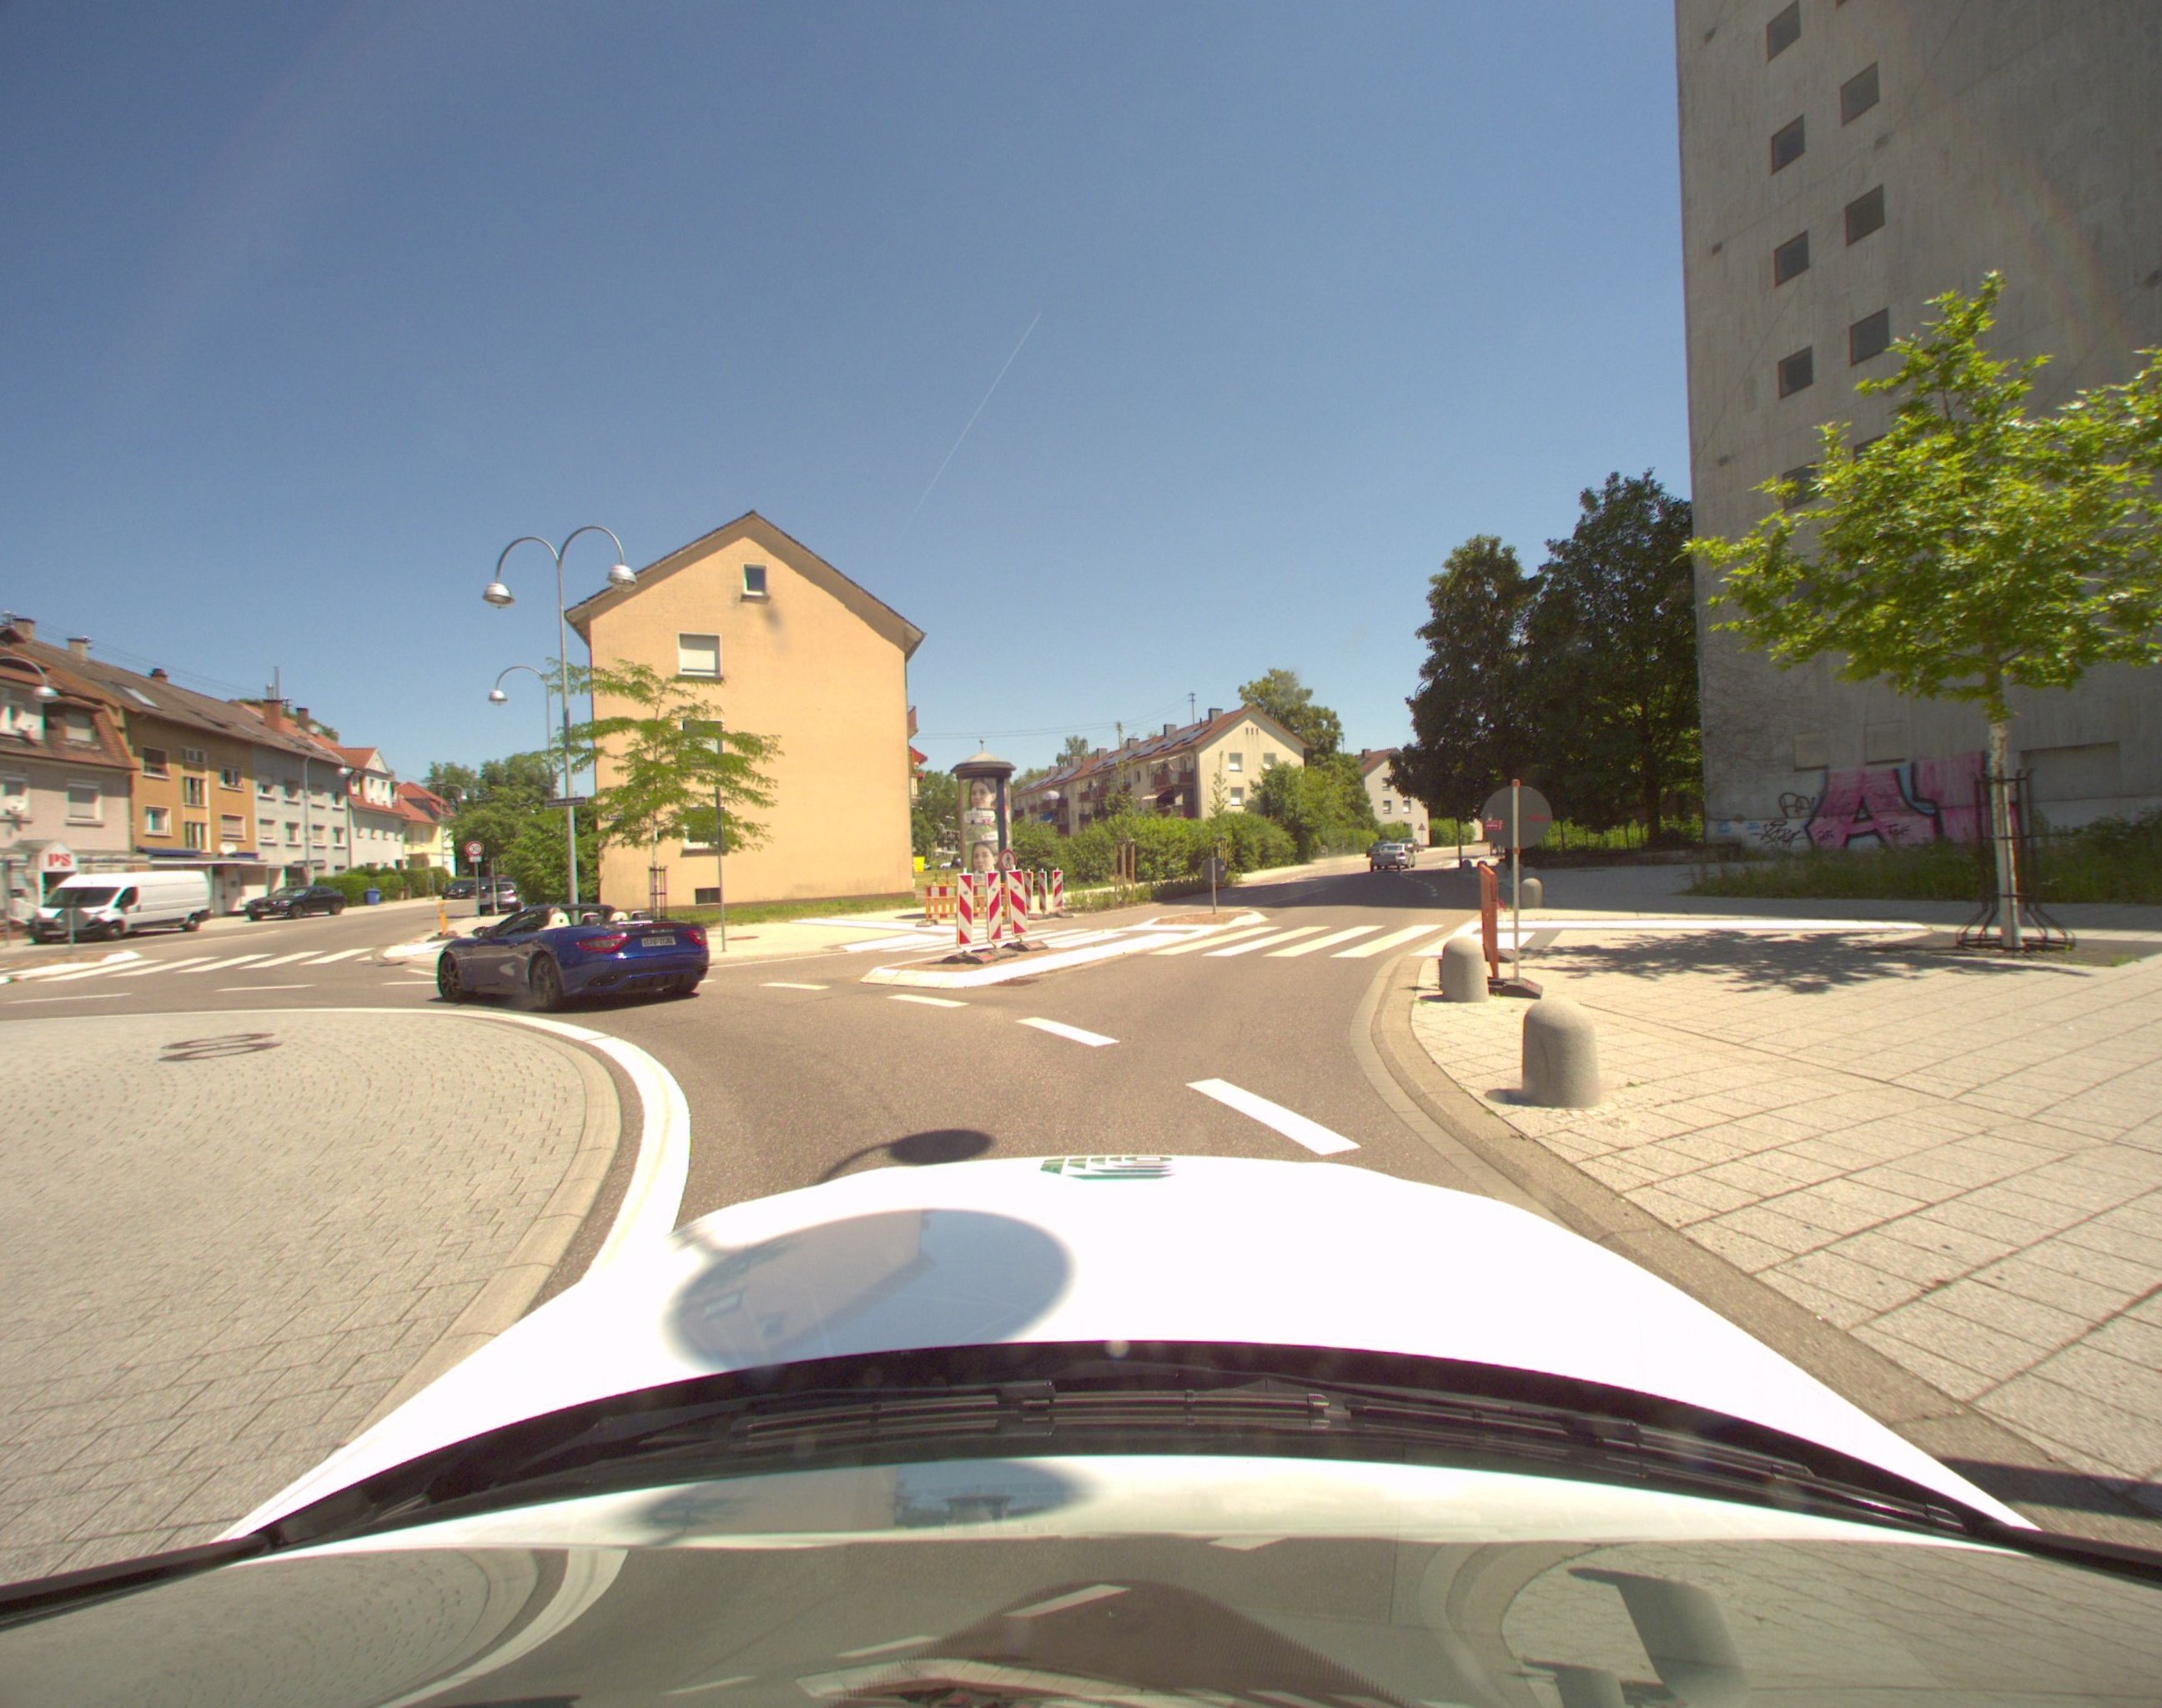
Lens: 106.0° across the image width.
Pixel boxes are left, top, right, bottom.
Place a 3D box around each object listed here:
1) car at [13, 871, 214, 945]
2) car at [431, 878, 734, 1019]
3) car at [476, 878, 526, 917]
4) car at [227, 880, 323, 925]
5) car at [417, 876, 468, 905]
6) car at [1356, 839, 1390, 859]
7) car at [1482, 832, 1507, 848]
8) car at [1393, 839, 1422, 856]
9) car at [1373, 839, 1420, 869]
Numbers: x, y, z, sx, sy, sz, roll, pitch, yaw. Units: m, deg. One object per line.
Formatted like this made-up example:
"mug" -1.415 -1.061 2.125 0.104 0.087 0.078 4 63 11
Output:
"car" -36.955 1.932 31.452 2.152 2.533 6.195 0 -1 -20
"car" -7.073 1.278 11.408 4.448 1.530 1.889 -5 -2 34
"car" -28.318 2.070 39.811 1.893 1.631 3.552 -1 1 -36
"car" -40.765 2.378 41.319 2.077 2.013 3.969 -3 0 -23
"car" -47.419 2.673 60.555 2.078 2.013 3.966 -3 0 -26
"car" 24.996 -0.453 69.658 1.721 1.436 3.735 -4 -1 36
"car" 44.182 -1.520 86.950 1.721 1.436 3.735 -4 -1 35
"car" 32.107 -0.686 80.109 1.721 1.436 3.735 -4 -1 36
"car" 17.492 -0.013 45.079 1.722 1.436 3.734 -4 0 31
